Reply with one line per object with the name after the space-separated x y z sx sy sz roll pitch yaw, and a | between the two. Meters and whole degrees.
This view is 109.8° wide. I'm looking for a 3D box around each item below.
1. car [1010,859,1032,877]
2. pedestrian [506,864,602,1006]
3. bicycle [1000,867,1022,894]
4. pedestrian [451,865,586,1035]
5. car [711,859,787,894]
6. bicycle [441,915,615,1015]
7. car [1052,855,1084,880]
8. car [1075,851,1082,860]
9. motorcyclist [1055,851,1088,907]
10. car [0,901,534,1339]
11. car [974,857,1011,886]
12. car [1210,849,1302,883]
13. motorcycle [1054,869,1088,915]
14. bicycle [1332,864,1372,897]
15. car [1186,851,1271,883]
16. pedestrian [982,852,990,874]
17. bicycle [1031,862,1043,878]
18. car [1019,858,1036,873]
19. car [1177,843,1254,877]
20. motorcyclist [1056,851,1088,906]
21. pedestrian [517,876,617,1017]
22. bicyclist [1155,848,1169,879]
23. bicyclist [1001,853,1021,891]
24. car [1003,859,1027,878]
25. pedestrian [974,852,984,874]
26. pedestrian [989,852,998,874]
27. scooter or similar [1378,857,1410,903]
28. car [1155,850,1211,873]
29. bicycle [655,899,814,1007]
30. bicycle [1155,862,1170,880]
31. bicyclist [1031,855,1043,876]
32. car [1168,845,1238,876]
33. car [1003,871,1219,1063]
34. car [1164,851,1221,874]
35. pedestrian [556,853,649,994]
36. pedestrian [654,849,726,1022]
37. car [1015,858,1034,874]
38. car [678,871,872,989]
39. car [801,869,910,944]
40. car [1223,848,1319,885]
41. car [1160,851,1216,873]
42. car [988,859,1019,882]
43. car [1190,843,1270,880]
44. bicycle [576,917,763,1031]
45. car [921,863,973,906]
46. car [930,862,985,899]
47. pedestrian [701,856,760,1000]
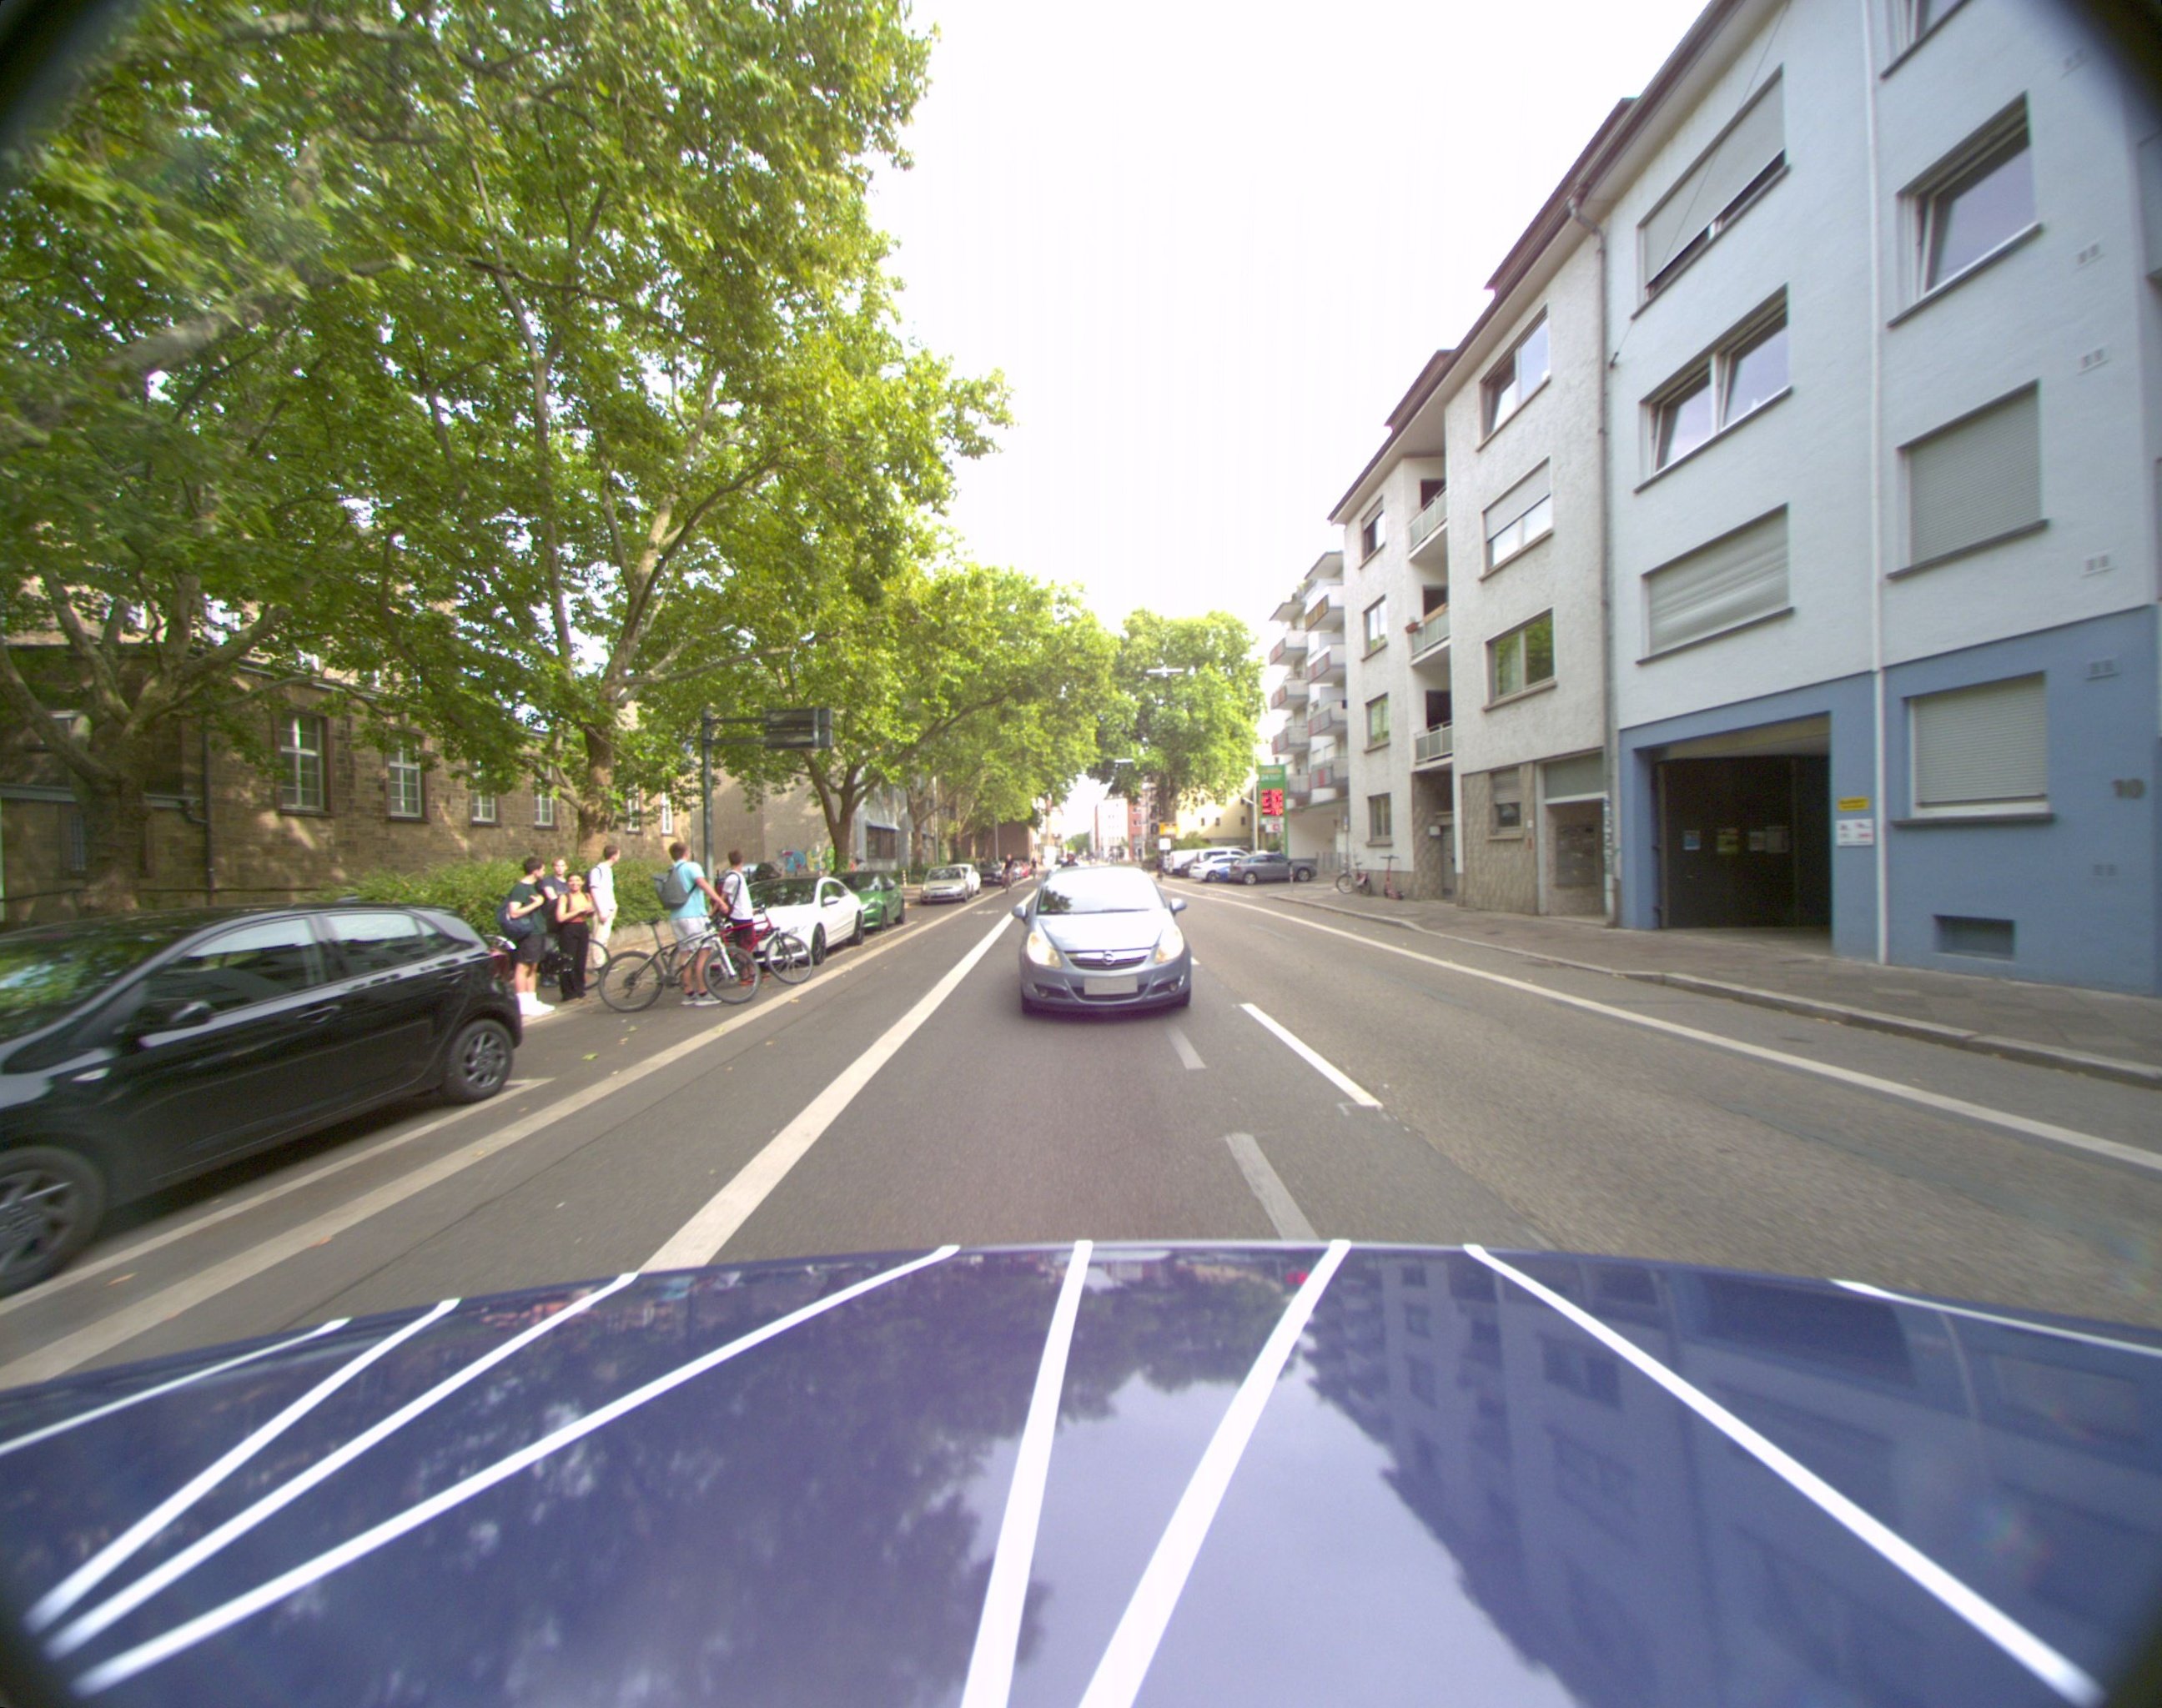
-5.420 1.274 68.839 1.603 1.438 4.104 -3 0 0 | car
-7.194 1.074 10.404 0.723 1.844 0.703 -3 1 -1 | pedestrian
-3.233 1.203 35.307 0.763 1.162 1.949 -2 0 0 | bicycle
-6.404 1.055 8.701 0.873 1.806 0.780 -3 1 -1 | pedestrian
-15.026 1.014 34.597 1.673 1.441 4.298 -2 -2 -2 | car
-7.255 1.439 10.043 1.773 1.125 0.462 -3 1 -12 | bicycle
-0.891 0.860 51.561 2.000 1.556 4.550 -2 0 -1 | car
-0.711 0.341 213.041 1.999 2.546 4.798 -2 0 0 | car
-0.285 0.735 22.401 0.905 1.608 0.691 -2 1 0 | motorcyclist
-4.957 1.151 3.944 1.532 1.493 3.659 -3 0 -1 | car
-5.572 1.075 48.248 1.926 1.612 4.480 -3 0 -2 | car
9.119 0.632 39.822 4.311 1.442 1.910 -4 0 0 | car
-0.281 1.086 22.401 0.905 1.190 2.630 -2 0 0 | motorcycle
8.483 0.824 23.847 0.598 0.945 1.662 -3 0 -1 | bicycle
8.140 0.688 42.136 4.282 1.442 1.874 -4 0 0 | car
-7.885 0.761 62.931 0.502 1.775 0.527 2 1 -2 | pedestrian
-3.311 1.200 57.480 0.763 1.162 1.949 -2 0 0 | bicycle
-5.895 1.232 83.813 1.603 1.516 3.955 -3 0 0 | car
9.053 0.398 51.577 4.779 1.923 1.994 -4 0 0 | car
-0.272 0.728 23.110 0.905 1.608 0.691 -2 1 0 | motorcyclist
-6.390 1.121 9.480 0.723 1.648 0.655 -3 1 -1 | pedestrian
4.931 0.567 46.237 0.653 1.800 1.045 -2 1 -1 | bicyclist
-3.247 0.828 35.237 0.764 1.698 0.917 -2 1 0 | bicyclist
-5.527 1.195 63.886 1.603 1.496 4.440 -3 0 0 | car
-8.476 0.719 63.202 0.644 1.823 0.645 2 1 -2 | pedestrian
-7.255 0.745 62.910 0.592 1.775 0.476 2 1 -2 | pedestrian
8.699 0.704 21.143 0.350 1.214 1.202 -3 0 -1 | scooter or similar
8.740 0.637 65.416 4.530 1.596 1.754 -4 0 0 | car
-4.489 1.265 9.975 1.796 1.210 0.552 -3 1 -18 | bicycle
4.955 1.002 46.236 0.648 1.008 2.076 -2 1 -1 | bicycle
-3.315 0.871 57.484 0.749 1.590 0.819 -2 1 0 | bicyclist
8.632 0.464 54.039 4.627 1.848 1.950 -4 0 0 | car
0.222 0.967 8.324 1.717 1.412 4.253 -2 0 -1 | car
8.911 0.657 60.975 4.276 1.502 1.719 -4 0 0 | car
-7.085 1.001 11.287 0.795 1.986 0.750 -3 1 -1 | pedestrian
-4.587 0.920 8.953 0.476 1.923 0.744 -3 1 -12 | pedestrian
-5.825 1.255 79.102 1.603 1.516 3.955 -3 0 0 | car
-5.077 1.153 13.350 1.685 1.507 4.543 -4 0 -3 | car
-5.334 1.172 18.423 1.591 1.441 3.804 -4 0 -3 | car
9.301 0.598 37.433 4.161 1.504 1.837 -4 0 0 | car
8.848 0.647 63.102 4.373 1.540 1.732 -4 0 0 | car
-5.423 1.155 53.727 1.644 1.424 4.573 -3 0 0 | car
8.738 0.445 44.802 4.222 1.837 1.924 -4 0 0 | car
-4.641 1.338 8.681 1.740 1.099 0.552 -3 1 -12 | bicycle
-5.233 1.157 30.053 1.647 1.438 3.881 -3 0 -5 | car
-5.549 1.152 34.587 1.759 1.438 4.218 -3 0 0 | car
-4.695 0.957 10.226 0.522 1.834 0.743 -3 1 -16 | pedestrian
